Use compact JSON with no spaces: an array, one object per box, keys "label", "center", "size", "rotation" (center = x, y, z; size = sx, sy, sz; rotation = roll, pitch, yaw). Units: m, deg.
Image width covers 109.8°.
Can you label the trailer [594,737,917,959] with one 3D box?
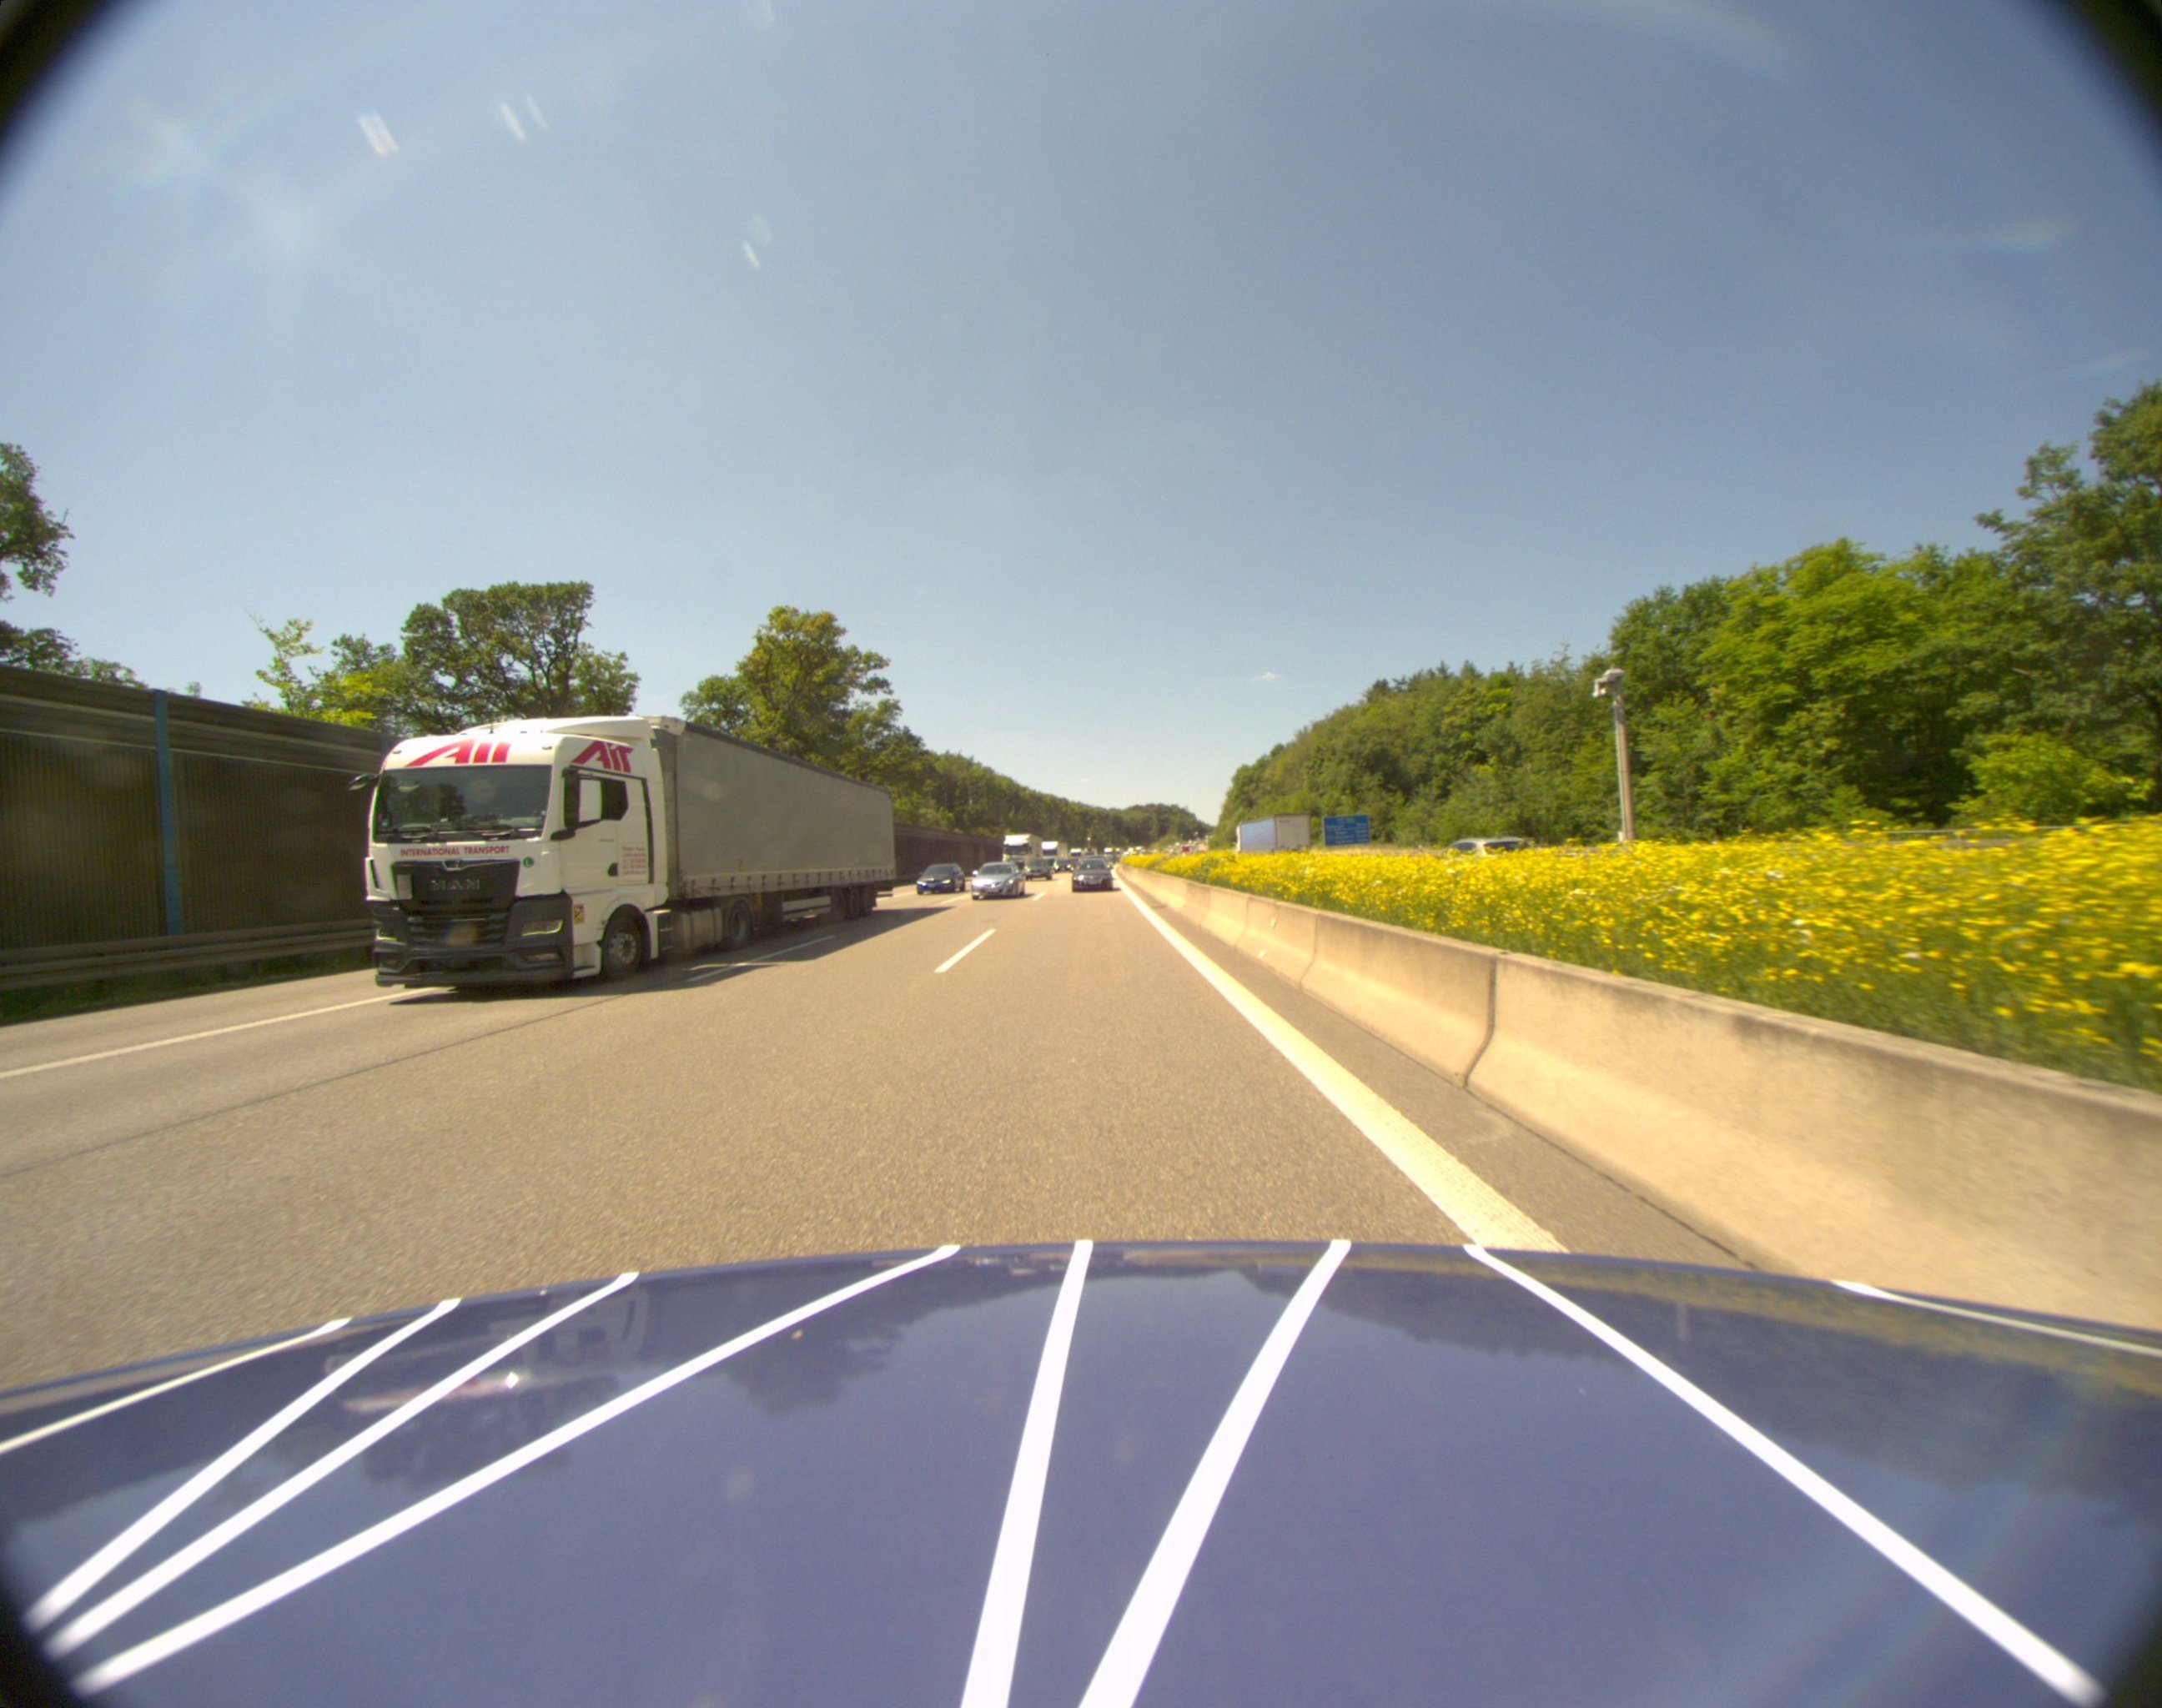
[{"label":"trailer","center":[-7.577,-0.171,21.048],"size":[2.604,4.067,13.591],"rotation":[-2,1,1]}]

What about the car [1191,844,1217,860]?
[{"label":"car","center":[13.248,-0.256,81.917],"size":[1.998,1.552,4.639],"rotation":[-3,0,0]}]

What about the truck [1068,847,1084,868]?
[{"label":"truck","center":[-0.963,0.712,165.714],"size":[2.853,4.382,5.241],"rotation":[-3,0,4]}]

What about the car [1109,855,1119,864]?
[{"label":"car","center":[7.020,1.180,160.264],"size":[1.998,1.641,4.001],"rotation":[-3,0,3]}]

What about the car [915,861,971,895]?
[{"label":"car","center":[-6.873,1.148,38.231],"size":[1.860,1.484,4.177],"rotation":[-3,0,2]}]

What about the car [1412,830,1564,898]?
[{"label":"car","center":[10.507,0.235,19.996],"size":[1.791,1.535,4.156],"rotation":[-3,0,1]}]

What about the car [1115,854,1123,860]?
[{"label":"car","center":[9.599,0.749,192.006],"size":[1.998,1.641,4.001],"rotation":[-3,0,3]}]

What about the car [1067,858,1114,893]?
[{"label":"car","center":[0.436,0.921,34.213],"size":[1.907,1.410,4.000],"rotation":[-3,0,1]}]

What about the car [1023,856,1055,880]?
[{"label":"car","center":[-2.967,0.949,54.208],"size":[1.907,1.550,4.000],"rotation":[-3,0,1]}]

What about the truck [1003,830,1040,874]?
[{"label":"truck","center":[-5.871,-0.188,75.836],"size":[2.811,4.190,5.422],"rotation":[-3,0,4]}]

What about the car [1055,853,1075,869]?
[{"label":"car","center":[-1.734,0.753,81.949],"size":[1.998,1.641,4.000],"rotation":[-3,0,0]}]

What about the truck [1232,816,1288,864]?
[{"label":"truck","center":[15.481,-1.143,66.389],"size":[2.755,3.834,8.413],"rotation":[-3,0,0]}]

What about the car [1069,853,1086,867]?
[{"label":"car","center":[-0.449,0.752,99.254],"size":[1.998,1.641,4.001],"rotation":[-3,0,3]}]

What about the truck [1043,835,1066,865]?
[{"label":"truck","center":[-3.820,-0.513,110.367],"size":[2.544,4.149,4.747],"rotation":[-3,0,6]}]

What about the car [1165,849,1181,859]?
[{"label":"car","center":[14.074,-0.046,116.320],"size":[1.809,1.480,4.000],"rotation":[-3,0,0]}]

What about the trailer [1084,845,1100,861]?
[{"label":"trailer","center":[2.864,-0.346,198.509],"size":[3.154,4.061,6.185],"rotation":[-3,0,7]}]

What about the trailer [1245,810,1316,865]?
[{"label":"trailer","center":[15.423,-1.164,59.564],"size":[2.788,3.834,10.170],"rotation":[-3,0,0]}]

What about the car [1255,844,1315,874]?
[{"label":"car","center":[11.677,0.251,43.834],"size":[2.143,1.521,4.799],"rotation":[-3,0,1]}]

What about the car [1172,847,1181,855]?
[{"label":"car","center":[30.943,-1.027,246.076],"size":[2.161,2.608,5.976],"rotation":[-2,0,2]}]

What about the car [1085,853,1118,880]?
[{"label":"car","center":[1.365,0.806,50.568],"size":[1.998,1.641,4.000],"rotation":[-2,1,2]}]

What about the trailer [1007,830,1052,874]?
[{"label":"trailer","center":[-5.391,-0.204,82.667],"size":[2.821,4.190,13.468],"rotation":[-3,0,4]}]

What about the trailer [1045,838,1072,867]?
[{"label":"trailer","center":[-3.331,-0.245,114.853],"size":[2.541,4.149,10.181],"rotation":[-3,0,6]}]

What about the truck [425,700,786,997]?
[{"label":"truck","center":[-7.724,-0.090,13.406],"size":[2.604,4.067,5.552],"rotation":[-2,1,1]}]

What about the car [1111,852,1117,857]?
[{"label":"car","center":[11.250,0.056,260.701],"size":[1.998,1.641,4.001],"rotation":[-3,0,3]}]

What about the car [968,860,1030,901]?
[{"label":"car","center":[-3.238,1.030,30.901],"size":[1.860,1.426,4.177],"rotation":[-3,0,2]}]

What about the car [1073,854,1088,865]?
[{"label":"car","center":[-0.095,0.882,118.212],"size":[1.998,1.641,4.001],"rotation":[-3,0,3]}]

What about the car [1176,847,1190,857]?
[{"label":"car","center":[18.896,-0.438,140.801],"size":[1.886,1.755,4.322],"rotation":[-3,0,1]}]
